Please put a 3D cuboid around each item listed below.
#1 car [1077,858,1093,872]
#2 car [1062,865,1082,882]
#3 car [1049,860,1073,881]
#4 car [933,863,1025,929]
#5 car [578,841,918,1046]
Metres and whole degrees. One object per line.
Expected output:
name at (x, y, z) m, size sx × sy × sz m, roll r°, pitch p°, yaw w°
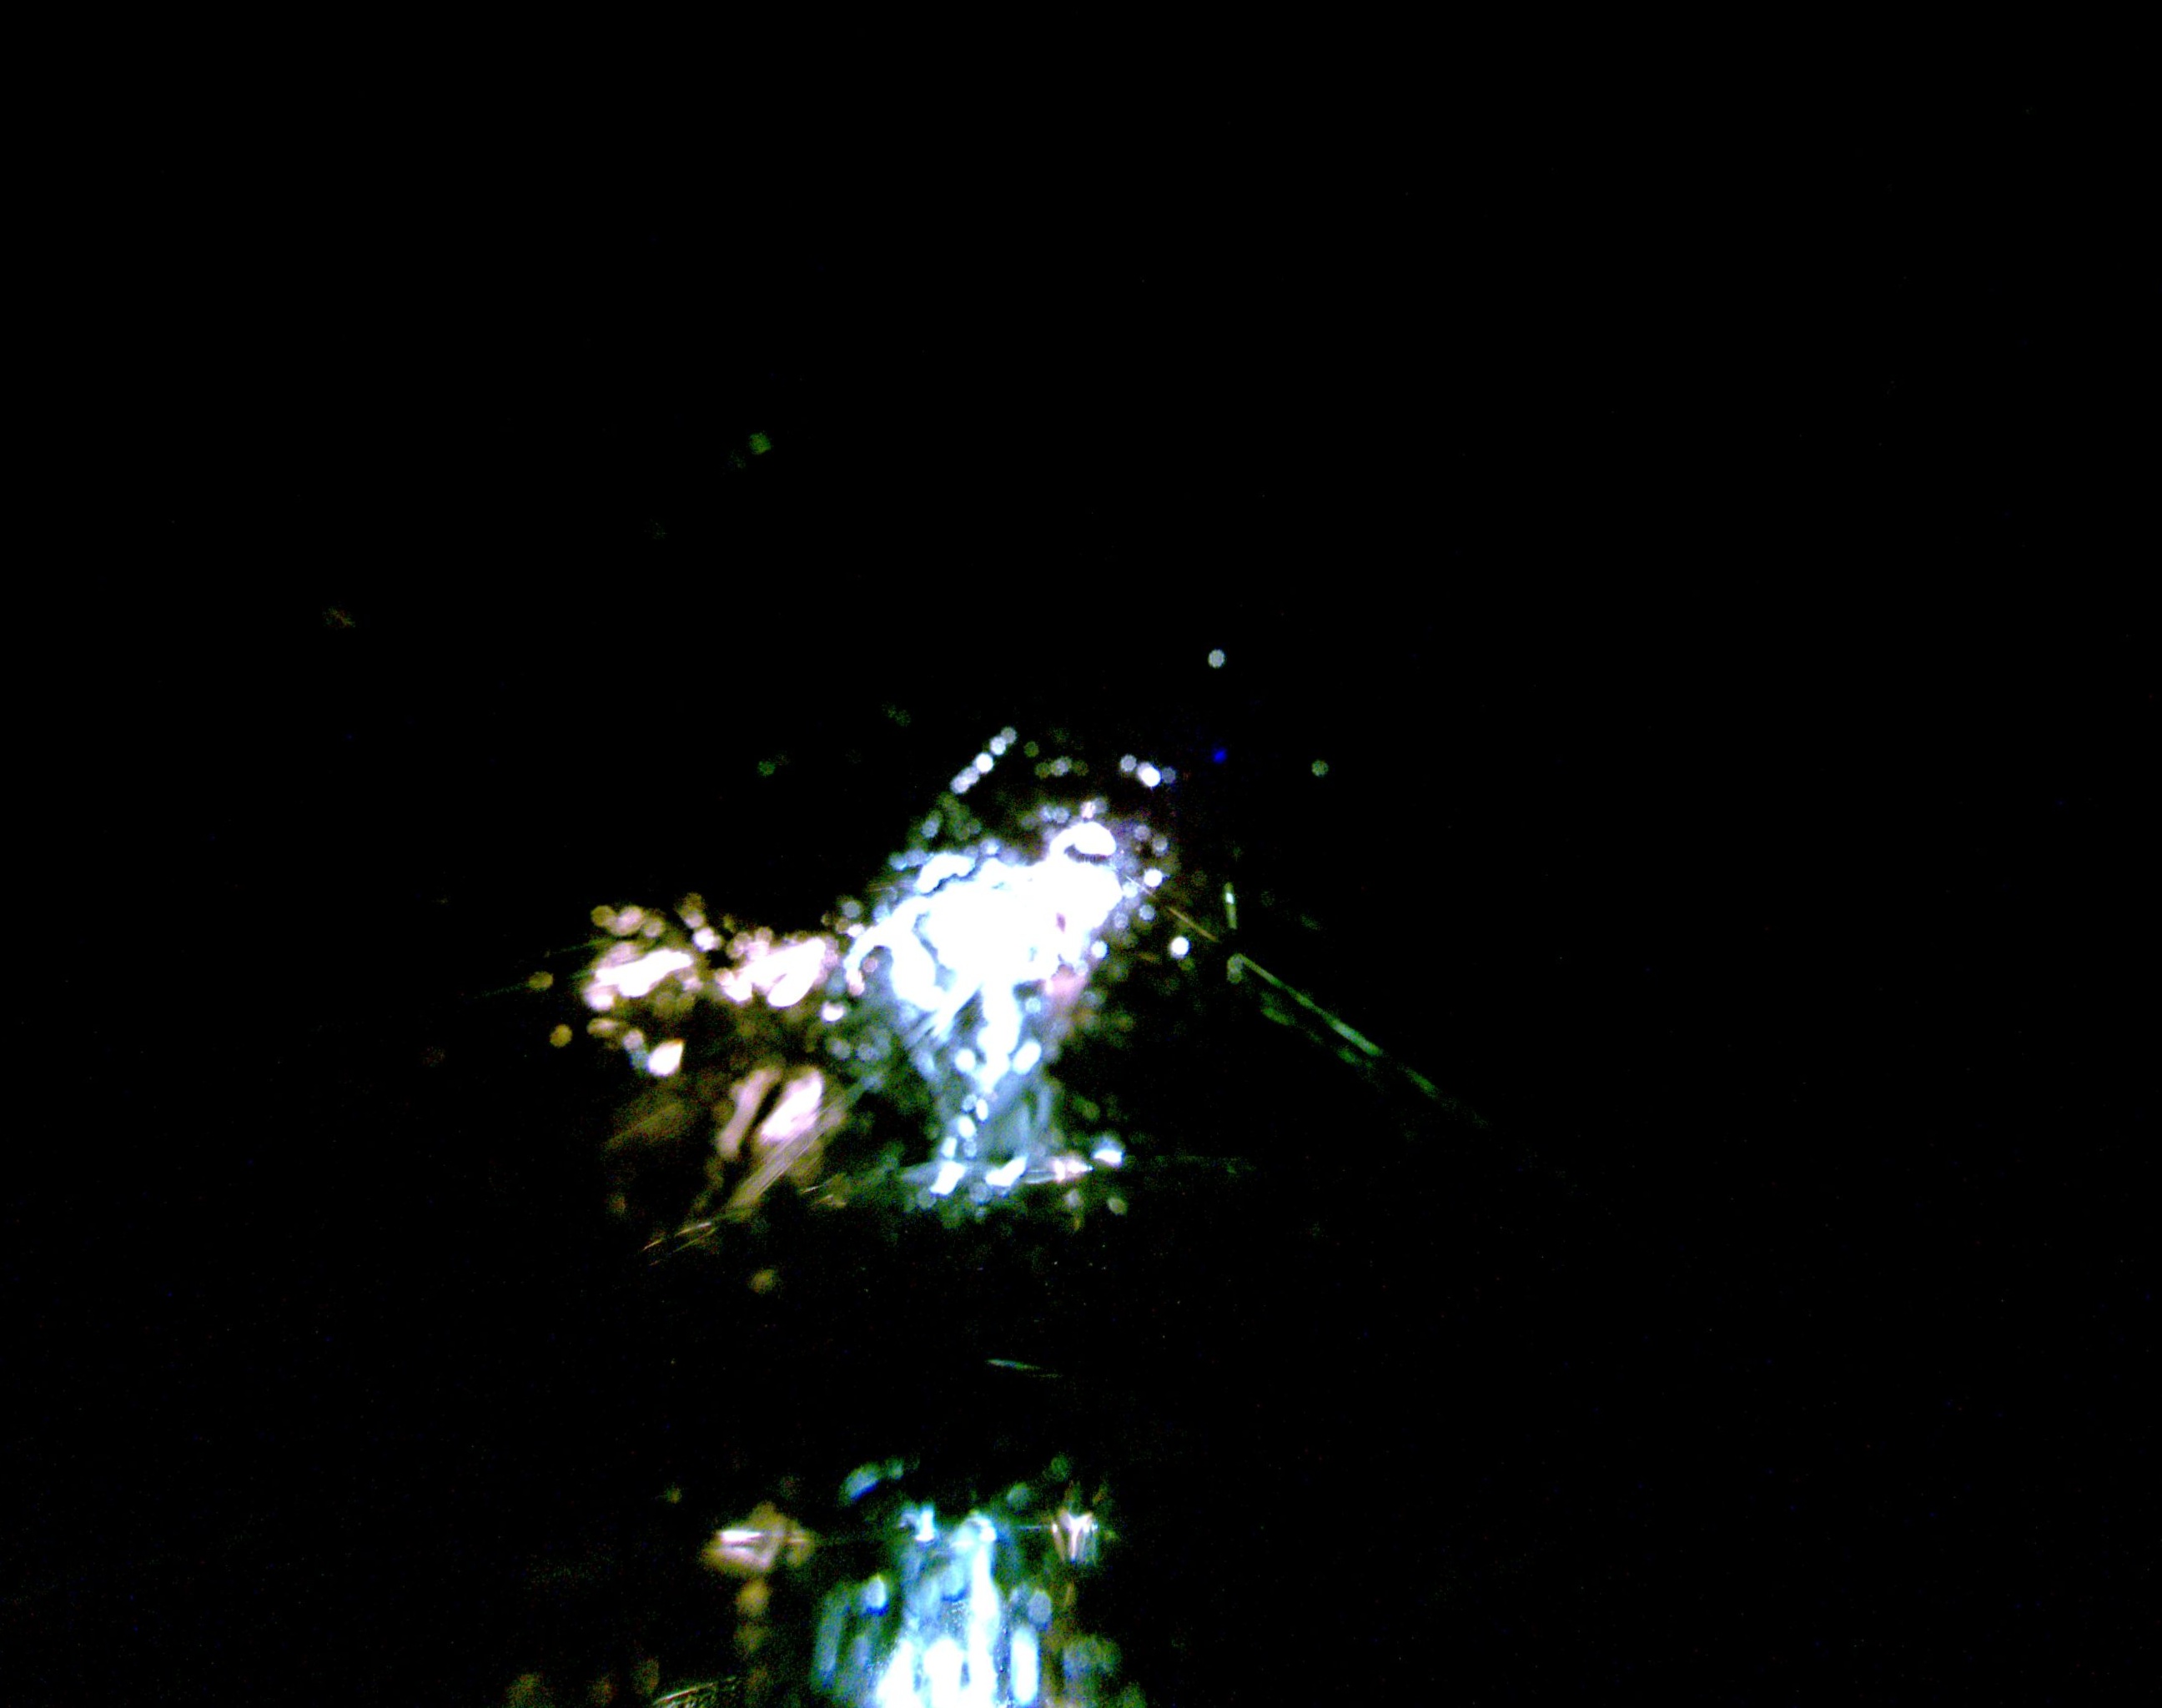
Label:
car at (0.584, 1.529, 111.106) m, size 2.033 × 1.607 × 3.998 m, roll -4°, pitch -2°, yaw 0°
car at (-0.928, 2.099, 86.209) m, size 1.881 × 1.635 × 4.392 m, roll -4°, pitch -2°, yaw 2°
car at (-1.548, 1.256, 63.650) m, size 1.695 × 1.467 × 4.041 m, roll -2°, pitch 0°, yaw 0°
car at (-2.715, 1.083, 22.576) m, size 1.881 × 1.586 × 4.002 m, roll -2°, pitch 0°, yaw 2°
car at (-3.207, 0.749, 8.848) m, size 1.881 × 1.671 × 4.002 m, roll -2°, pitch 0°, yaw 2°
